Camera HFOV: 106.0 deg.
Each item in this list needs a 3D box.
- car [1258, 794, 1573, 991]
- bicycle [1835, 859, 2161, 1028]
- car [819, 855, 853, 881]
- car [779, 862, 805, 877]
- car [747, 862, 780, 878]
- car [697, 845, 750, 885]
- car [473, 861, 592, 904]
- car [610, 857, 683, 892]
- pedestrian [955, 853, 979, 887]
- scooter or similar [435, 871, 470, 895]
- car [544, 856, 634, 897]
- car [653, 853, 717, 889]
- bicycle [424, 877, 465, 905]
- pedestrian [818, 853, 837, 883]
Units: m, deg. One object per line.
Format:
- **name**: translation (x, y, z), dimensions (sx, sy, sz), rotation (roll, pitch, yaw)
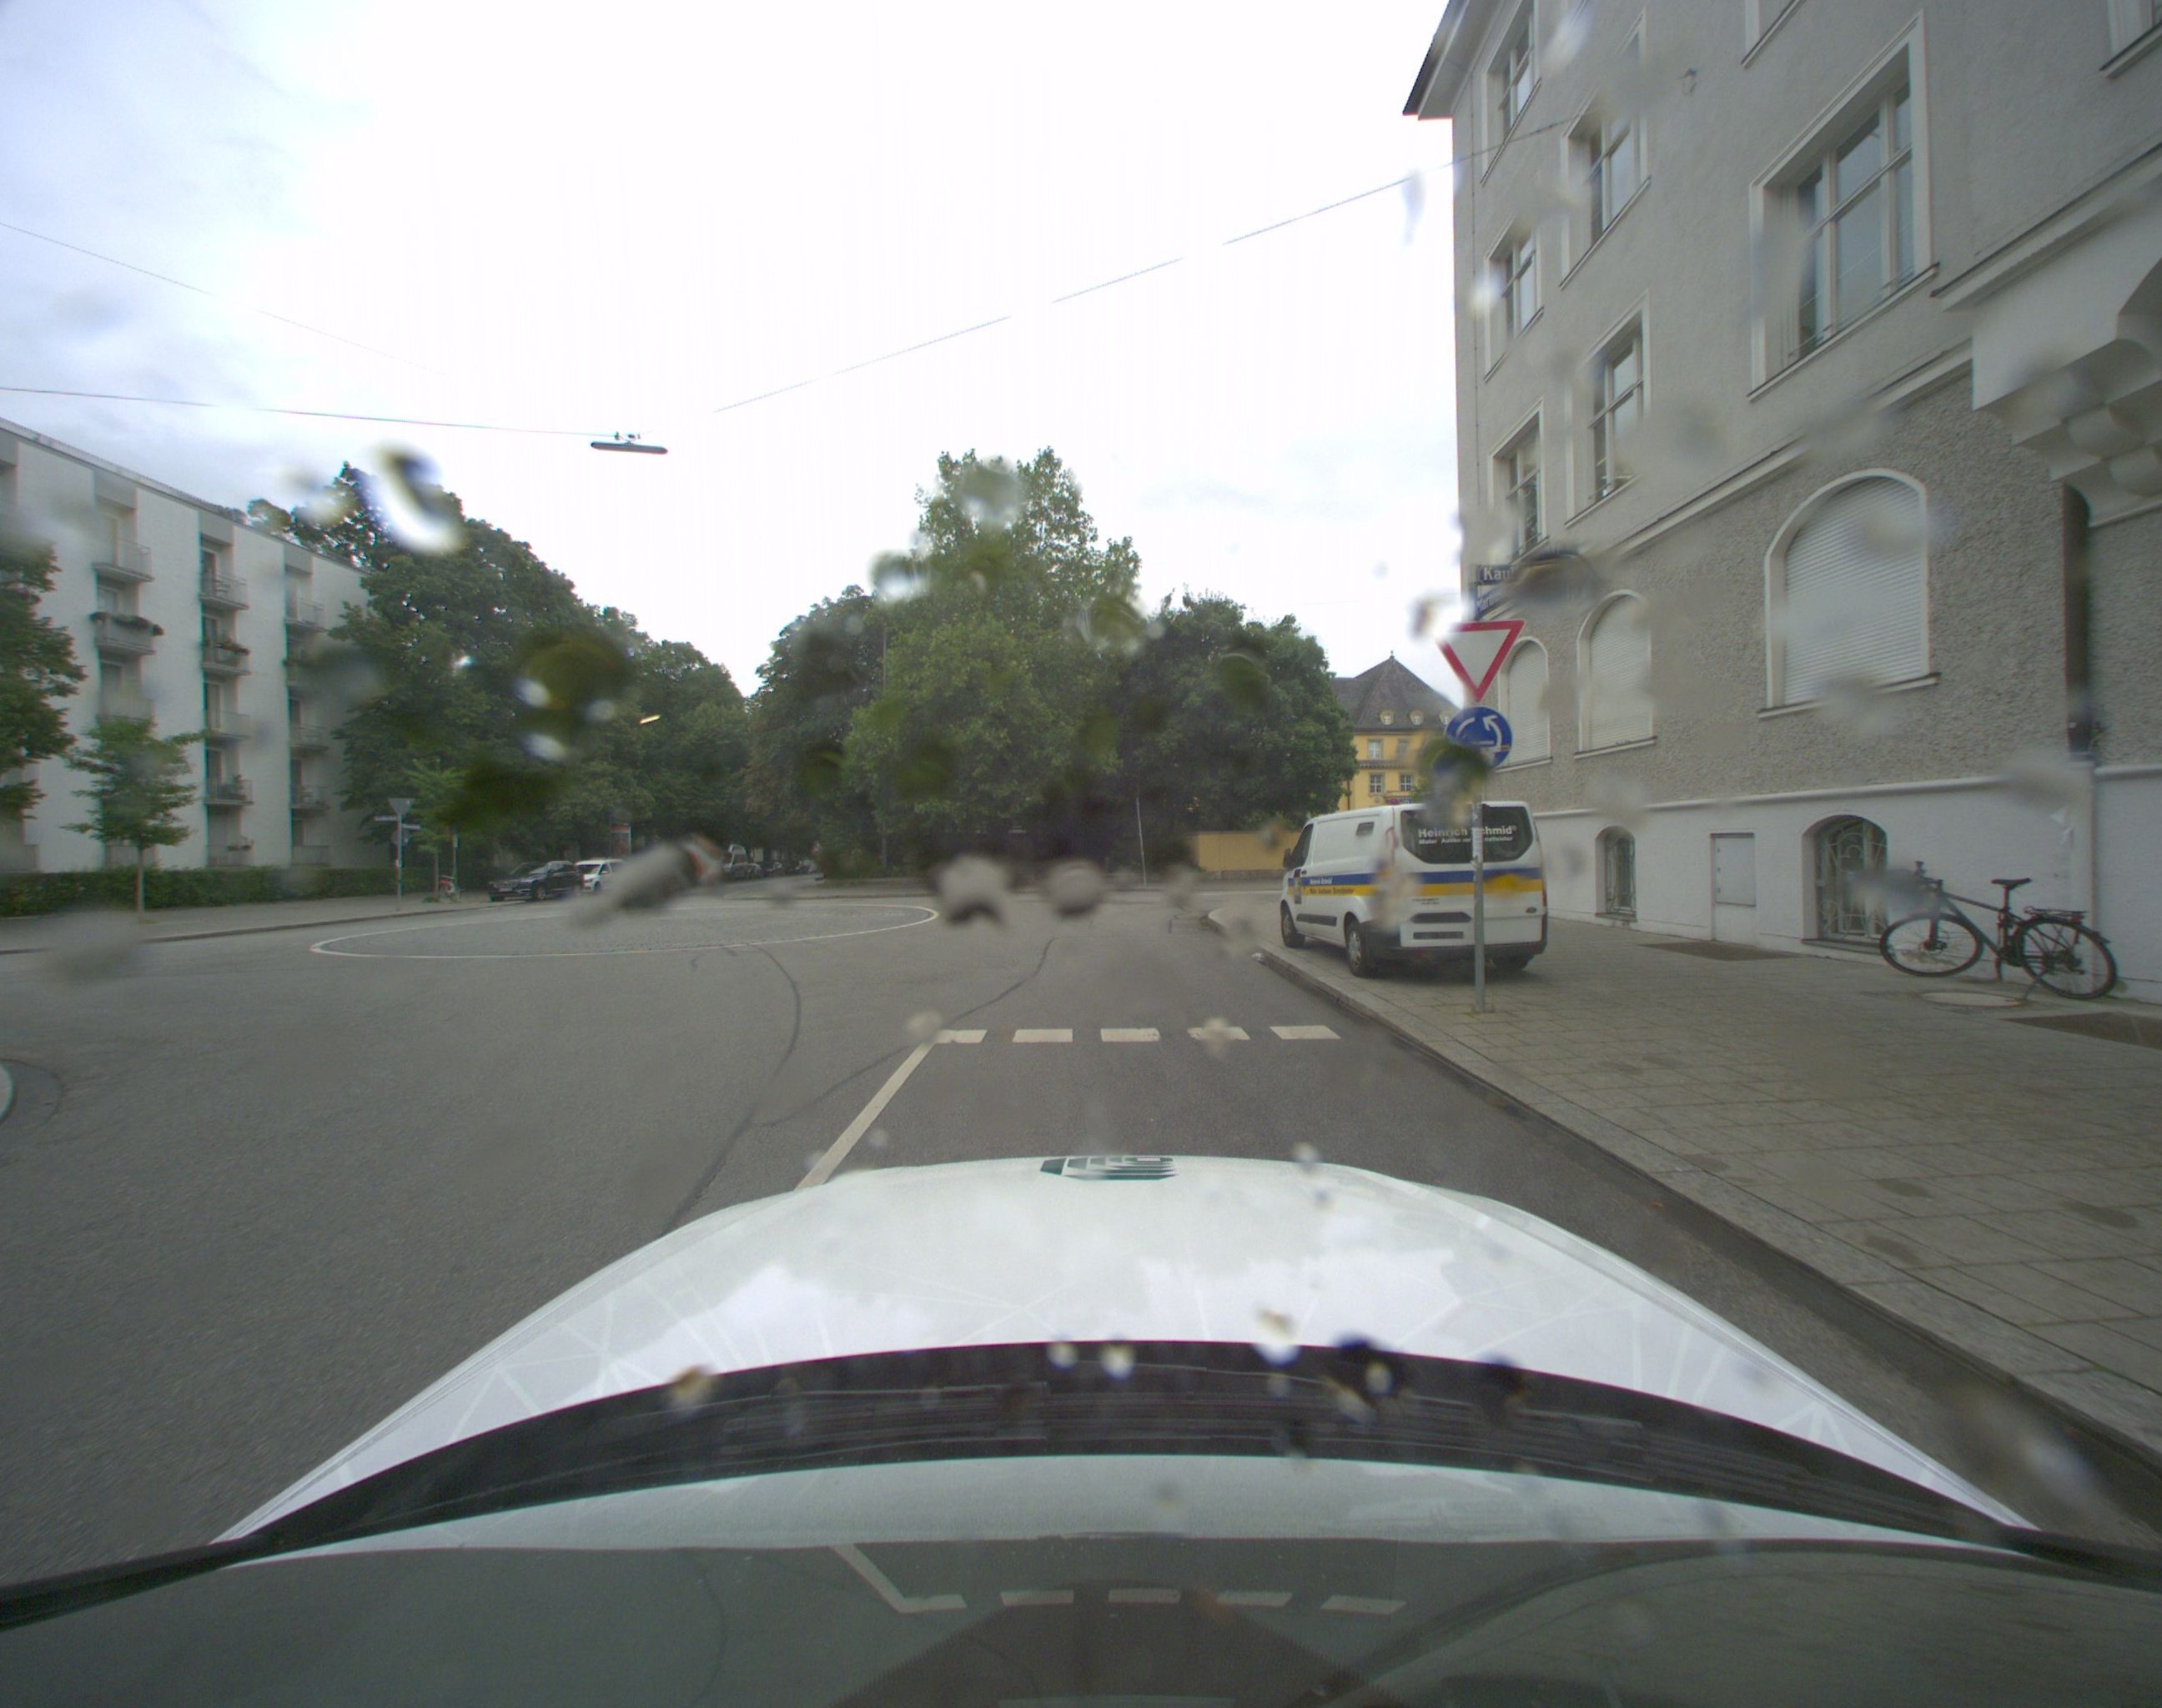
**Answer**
- **car**: translation (3.997, 0.381, 10.979), dimensions (1.932, 1.922, 5.372), rotation (-2, 0, -1)
- **bicycle**: translation (8.051, 0.643, 6.837), dimensions (0.836, 1.112, 2.757), rotation (-5, 0, 0)
- **car**: translation (-18.897, 1.060, 63.003), dimensions (1.911, 1.937, 4.952), rotation (-1, 0, -10)
- **car**: translation (-31.533, 1.646, 88.861), dimensions (1.994, 1.487, 4.114), rotation (-1, 0, -11)
- **car**: translation (-29.193, 1.461, 74.983), dimensions (1.994, 1.420, 4.114), rotation (-1, 0, -11)
- **car**: translation (-28.140, 0.826, 64.309), dimensions (2.172, 3.002, 6.215), rotation (-1, 0, -8)
- **car**: translation (-24.368, 1.205, 36.468), dimensions (2.080, 1.719, 5.295), rotation (-1, 0, -5)
- **car**: translation (-25.824, 1.162, 48.603), dimensions (2.026, 1.908, 5.649), rotation (-3, 0, -9)
- **pedestrian**: translation (-4.689, 0.651, 33.586), dimensions (0.766, 1.356, 1.132), rotation (-1, 0, 1)
- **scooter or similar**: translation (-33.084, 1.496, 42.887), dimensions (0.701, 1.191, 1.652), rotation (-1, 0, -9)
- **car**: translation (-25.085, 1.093, 41.749), dimensions (2.081, 1.903, 4.847), rotation (-1, 0, -7)
- **car**: translation (-26.956, 1.101, 55.653), dimensions (2.082, 2.264, 5.588), rotation (-3, 0, -7)
- **bicycle**: translation (-26.736, 1.549, 34.252), dimensions (0.753, 1.085, 1.773), rotation (-1, 0, -18)
- **pedestrian**: translation (-15.796, 0.864, 50.779), dimensions (0.826, 1.836, 0.942), rotation (-1, 0, -35)
